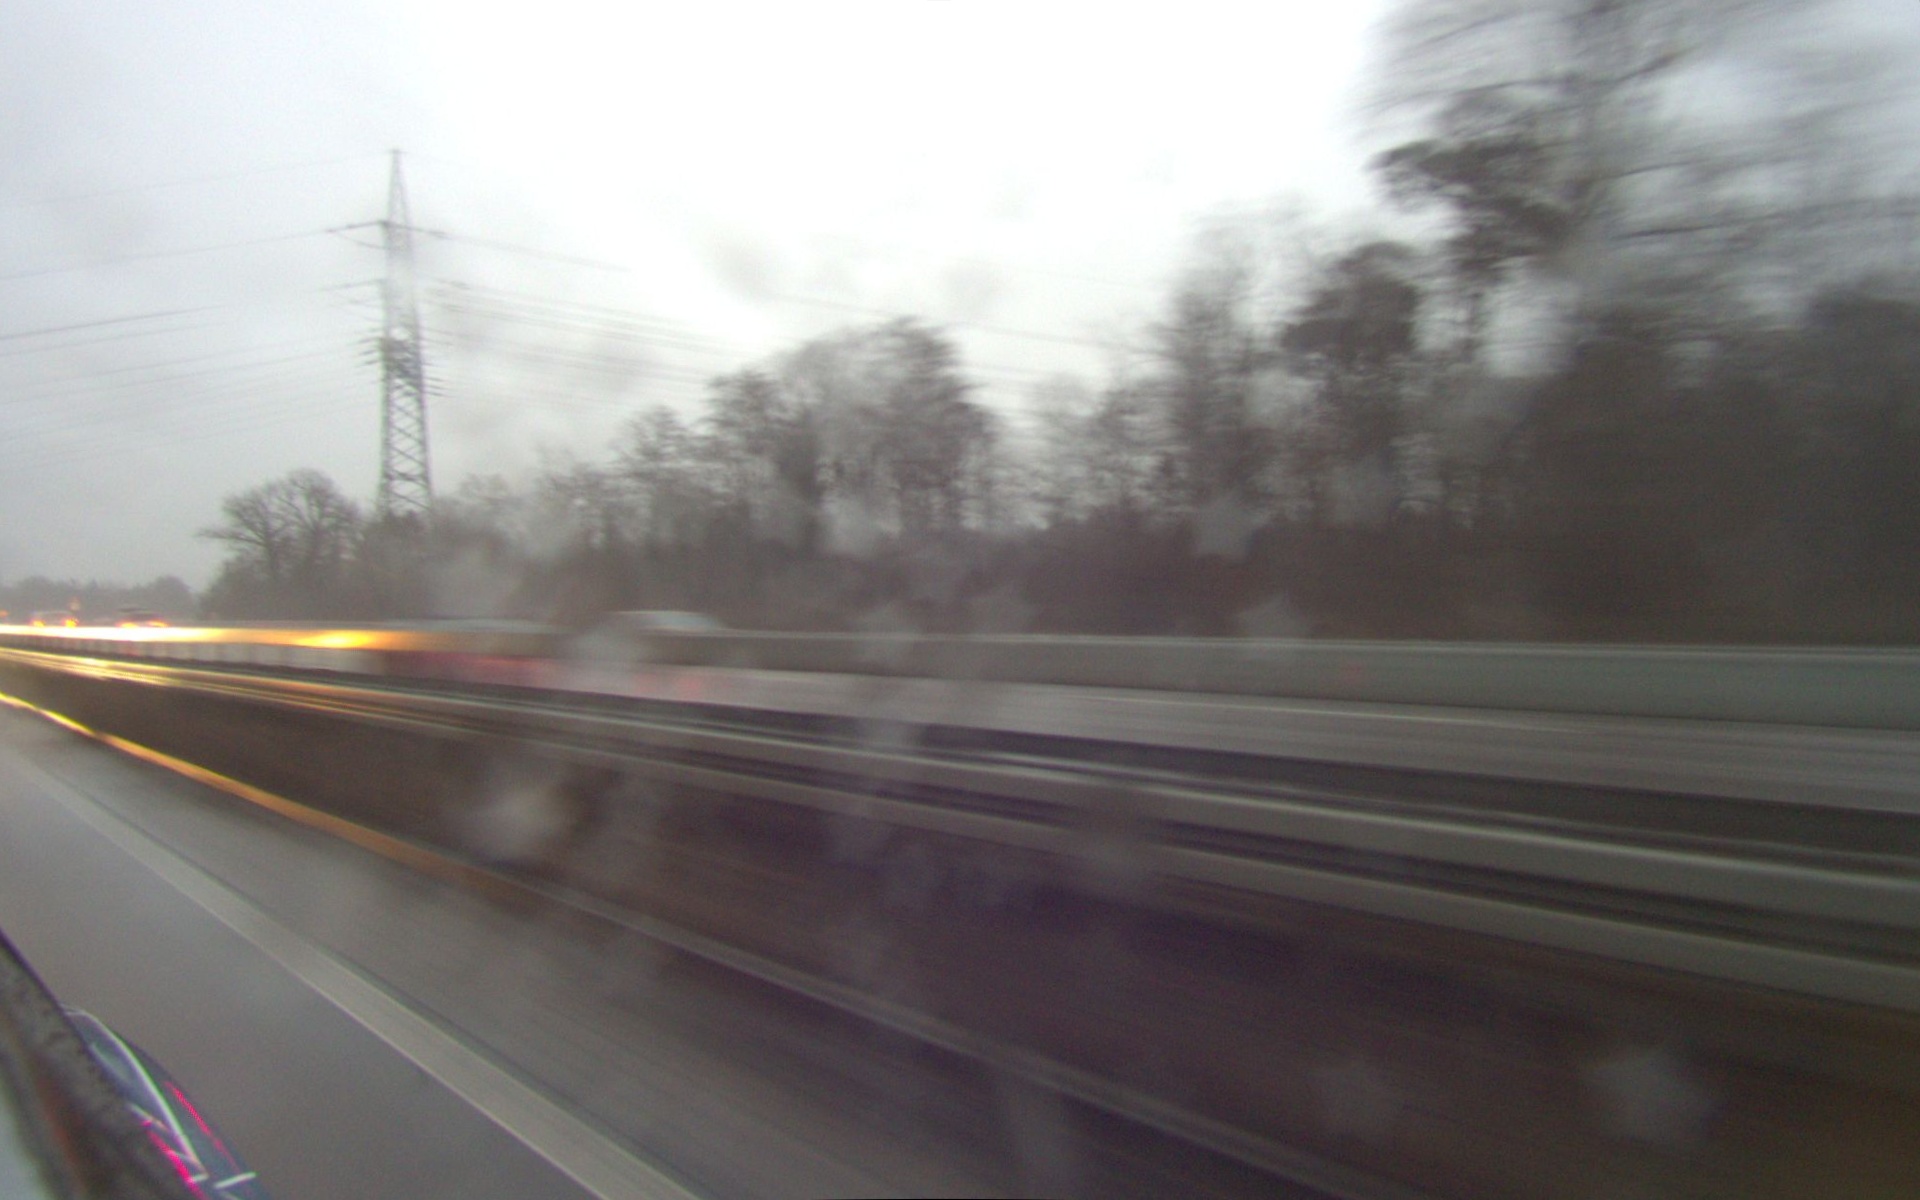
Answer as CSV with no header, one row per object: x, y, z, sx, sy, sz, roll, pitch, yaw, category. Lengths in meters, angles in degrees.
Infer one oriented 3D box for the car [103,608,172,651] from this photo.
-40.762,1.450,50.144,3.998,2.024,1.973,-2,0,41,car

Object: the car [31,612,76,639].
-60.461,1.690,67.495,3.998,1.670,1.736,-2,0,41,car

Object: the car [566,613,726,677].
-7.544,1.040,24.140,4.154,1.361,1.686,-2,0,41,car
